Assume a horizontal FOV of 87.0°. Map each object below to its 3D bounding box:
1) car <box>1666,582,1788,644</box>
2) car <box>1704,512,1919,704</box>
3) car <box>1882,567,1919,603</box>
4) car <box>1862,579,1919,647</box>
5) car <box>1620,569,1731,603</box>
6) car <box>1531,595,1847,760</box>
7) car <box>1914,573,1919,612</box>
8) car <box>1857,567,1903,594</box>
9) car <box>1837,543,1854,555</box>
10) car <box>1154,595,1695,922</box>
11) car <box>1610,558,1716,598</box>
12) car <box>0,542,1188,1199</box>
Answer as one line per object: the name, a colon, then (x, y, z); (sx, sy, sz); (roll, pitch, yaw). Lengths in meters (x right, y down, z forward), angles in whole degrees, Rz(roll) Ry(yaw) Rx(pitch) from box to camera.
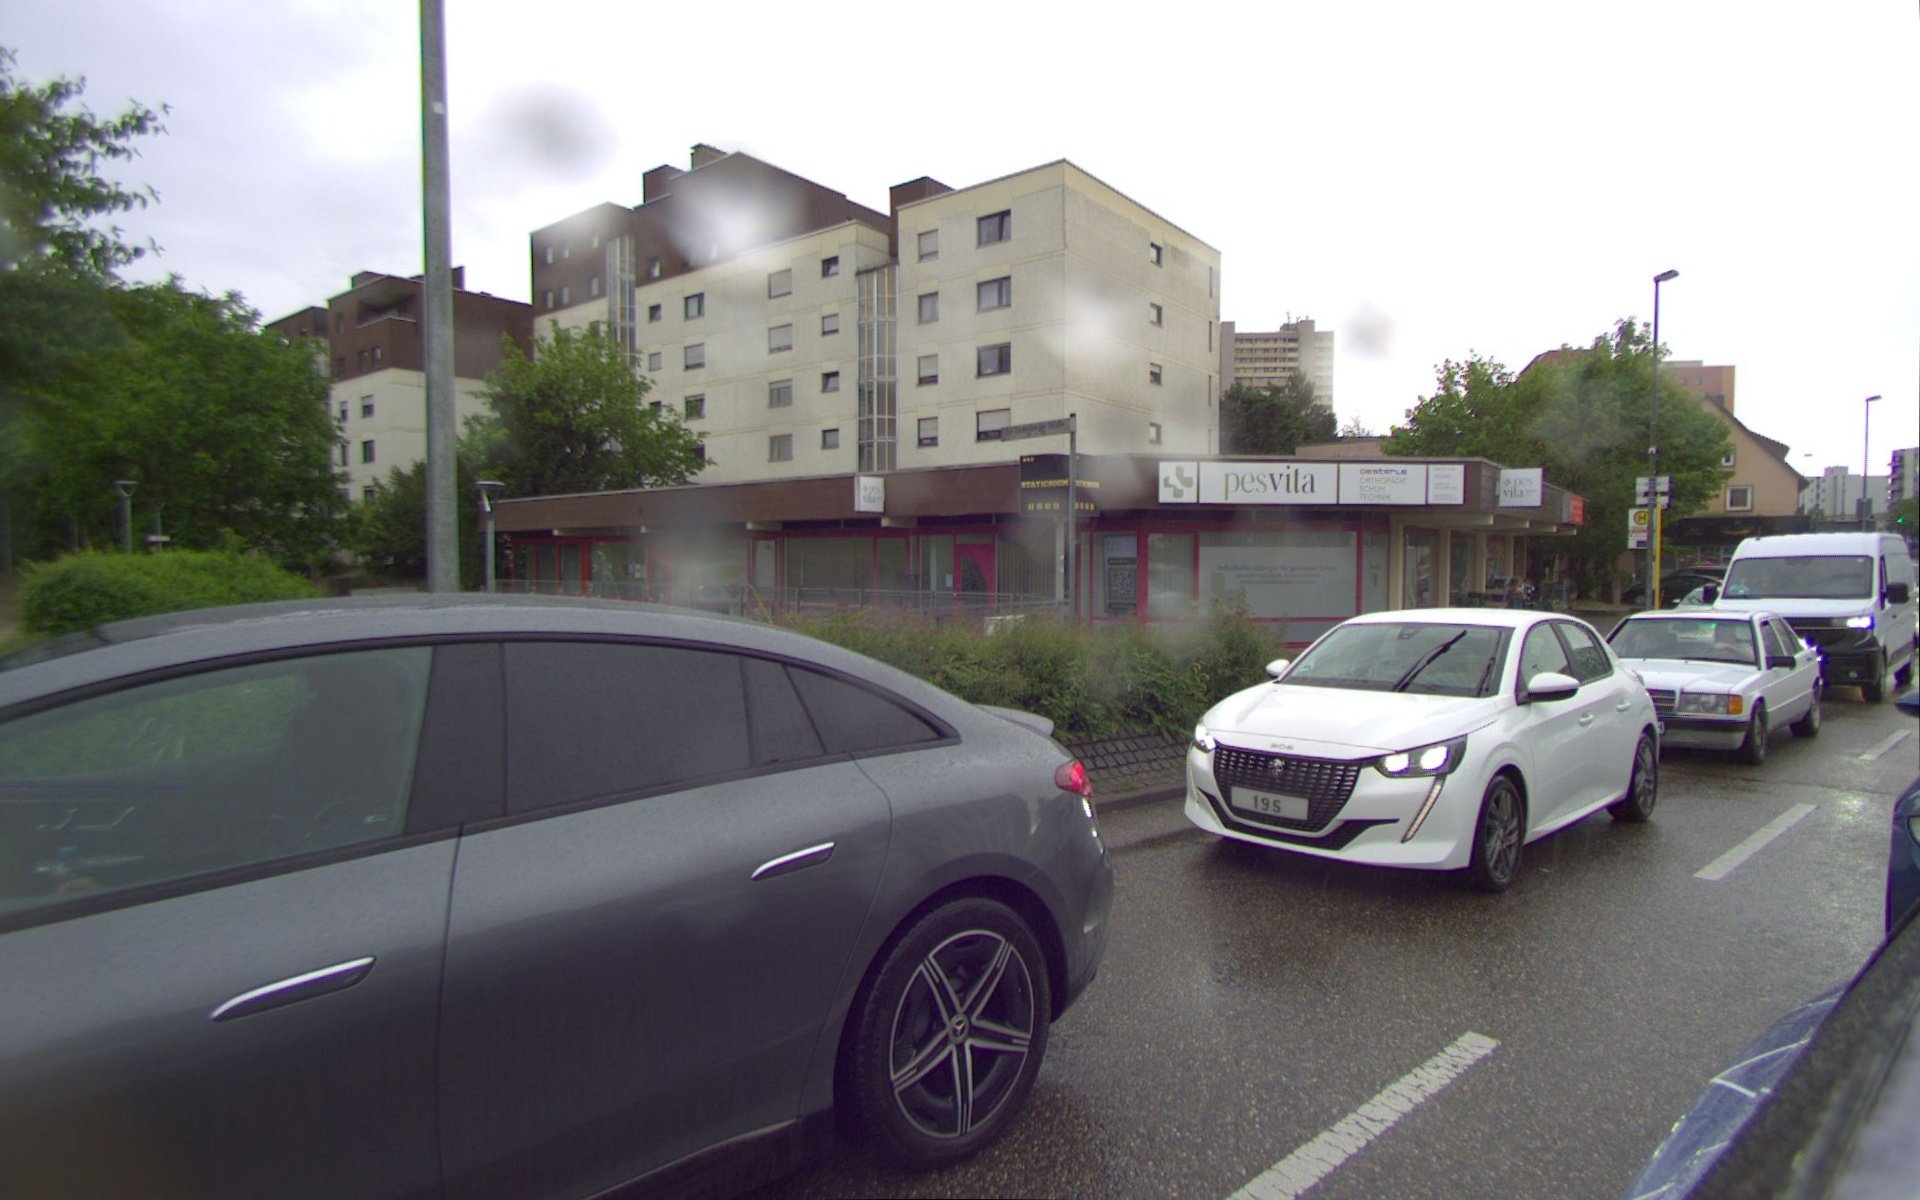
car: (20.244, 0.281, 26.656); (3.930, 1.509, 1.787); (-1, 1, -41)
car: (13.966, 0.028, 16.280); (6.021, 2.549, 2.194); (-2, 2, -43)
car: (54.663, -0.890, 58.385); (1.994, 2.038, 3.937); (2, 3, 44)
car: (23.597, 0.270, 24.738); (3.930, 1.558, 1.802); (-1, 2, -41)
car: (32.004, -0.641, 45.316); (3.981, 1.445, 1.858); (2, 2, 39)
car: (7.732, 0.647, 10.598); (4.089, 1.362, 1.787); (-1, 1, -41)
car: (41.152, -0.337, 42.036); (3.933, 1.588, 1.996); (-2, 1, -43)
car: (66.009, -1.395, 72.568); (3.930, 1.776, 1.879); (0, 3, -41)
car: (139.474, -8.021, 159.432); (1.657, 1.654, 3.754); (1, 1, 37)
car: (3.180, 0.706, 6.527); (4.043, 1.433, 1.665); (-1, 1, -41)
car: (33.050, -1.052, 47.607); (3.981, 1.801, 1.858); (2, 2, 39)
car: (-1.630, 0.666, 2.412); (4.724, 1.485, 1.840); (0, -1, -41)
